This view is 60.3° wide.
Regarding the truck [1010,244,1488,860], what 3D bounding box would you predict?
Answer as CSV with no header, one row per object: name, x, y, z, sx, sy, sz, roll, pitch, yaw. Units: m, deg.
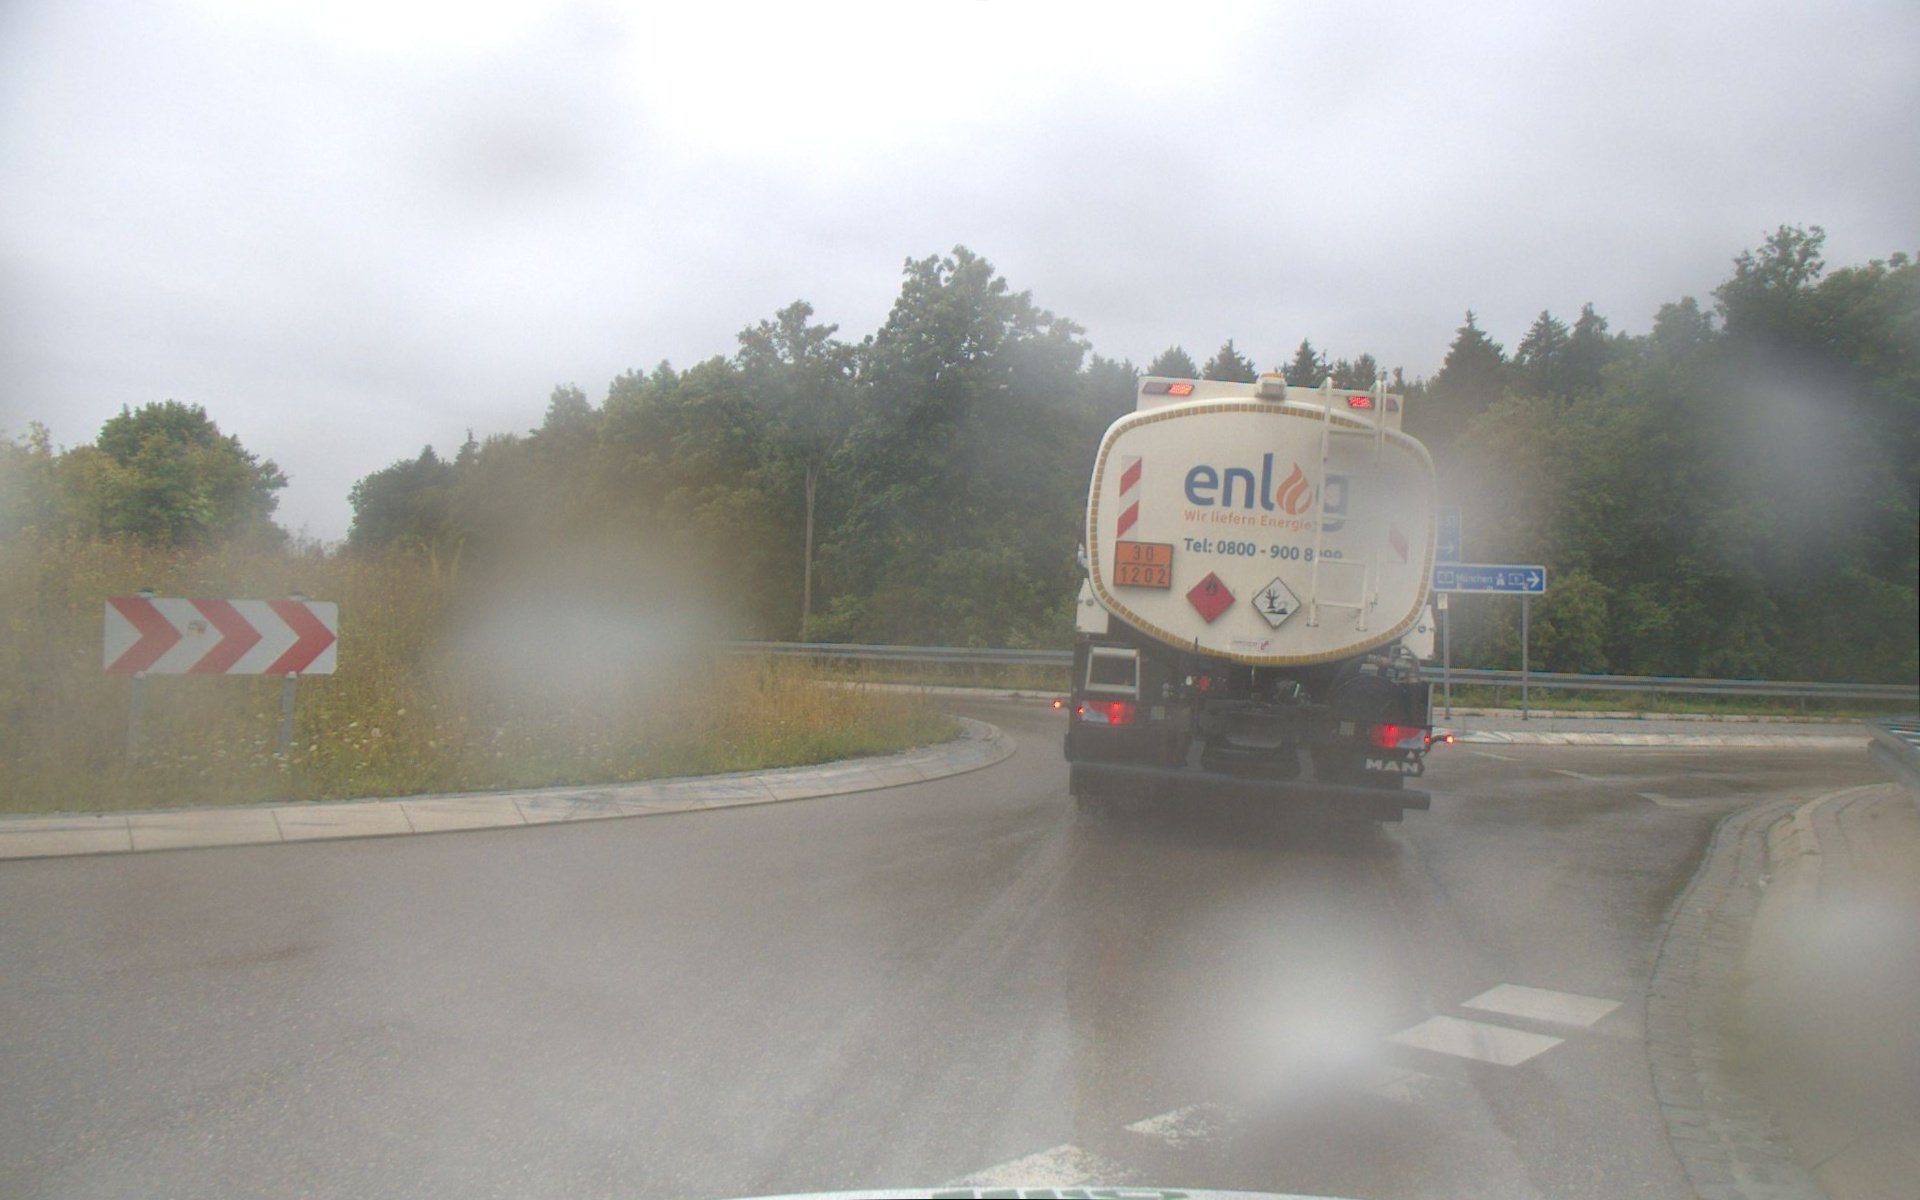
truck,2.766,-0.251,15.130,2.974,3.919,8.828,2,-1,12
